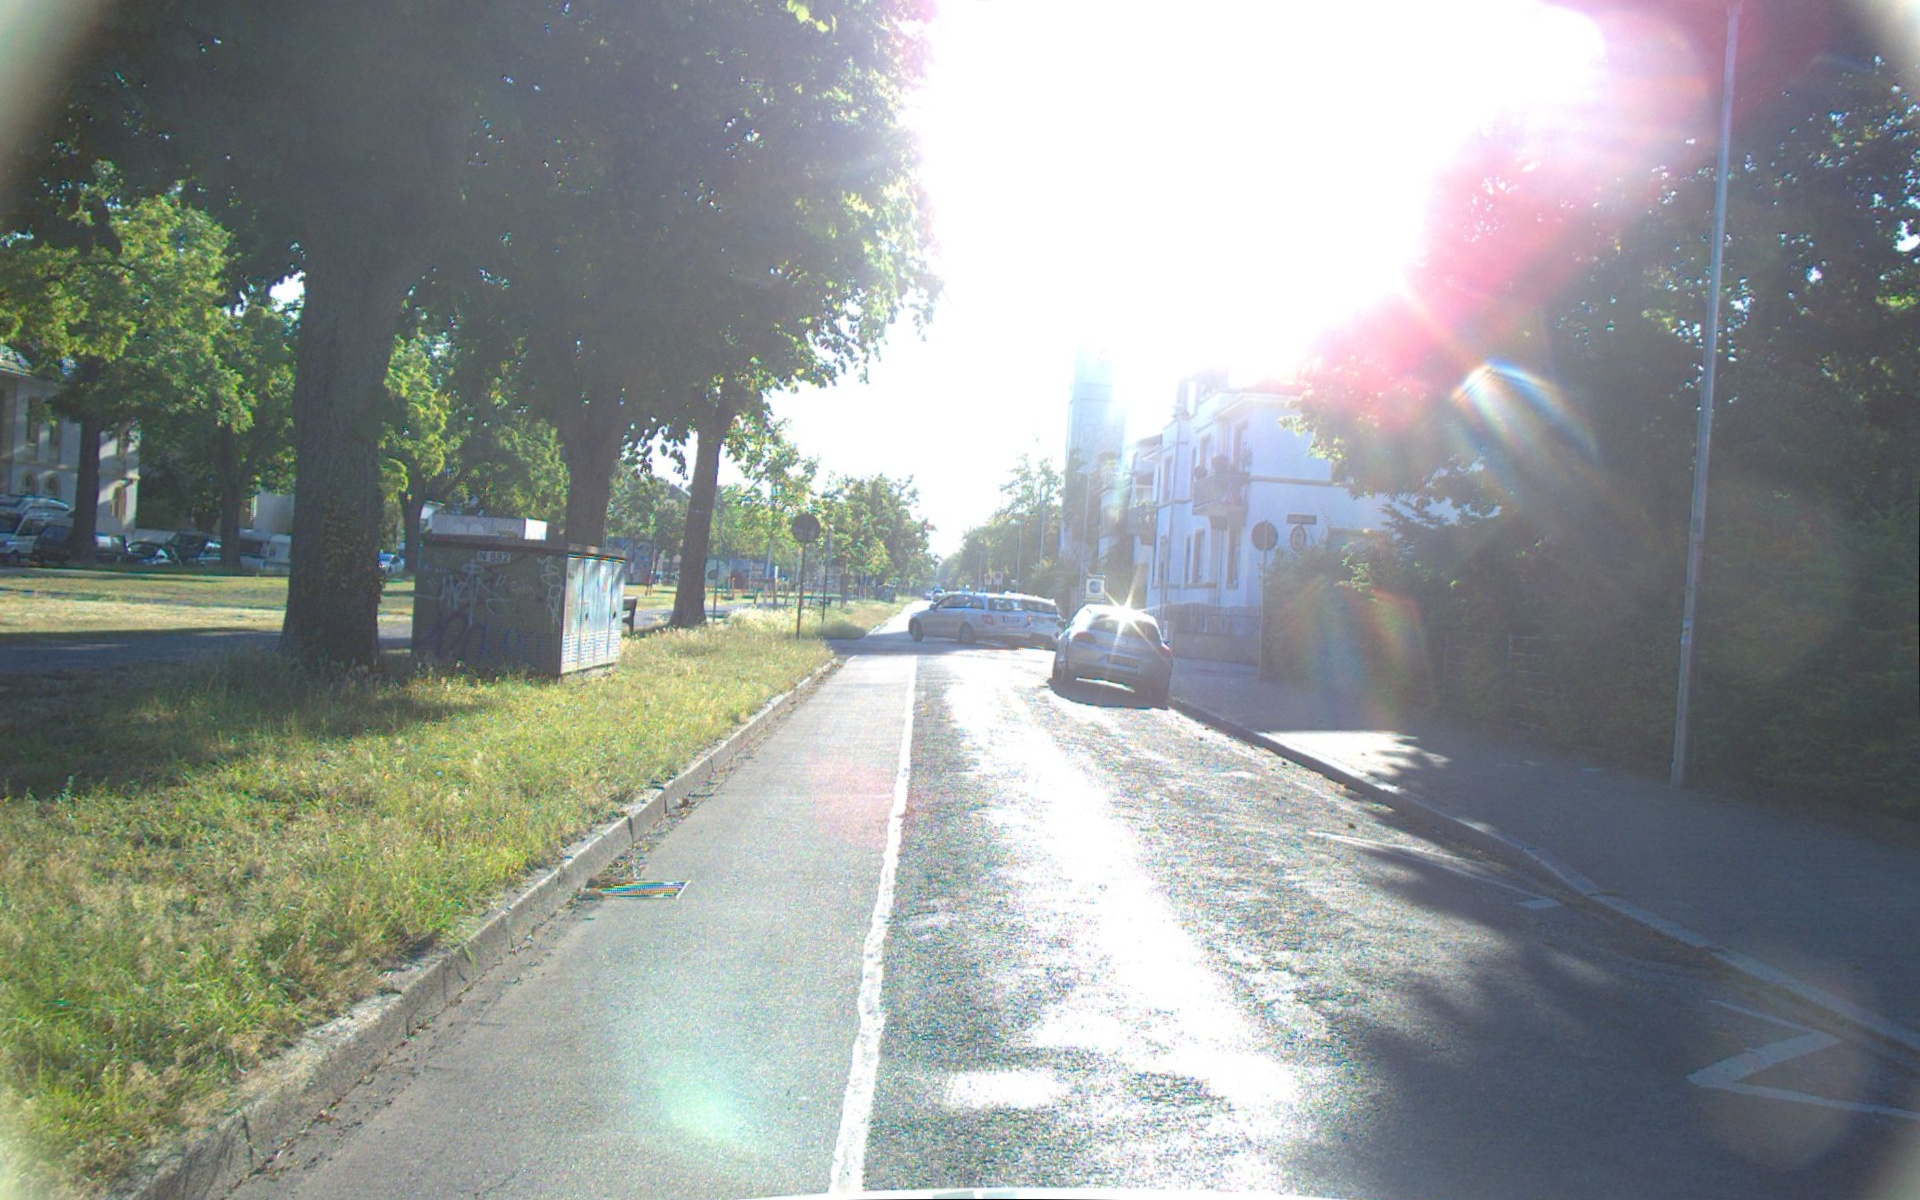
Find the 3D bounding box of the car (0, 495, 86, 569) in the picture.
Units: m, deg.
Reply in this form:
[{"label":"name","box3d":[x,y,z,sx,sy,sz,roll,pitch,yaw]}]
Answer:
[{"label":"car","box3d":[-40.173,-2.867,70.847,2.388,2.973,5.817,1,0,-1]}]

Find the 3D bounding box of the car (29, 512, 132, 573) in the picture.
[{"label":"car","box3d":[-34.323,-2.205,64.665,1.650,2.213,4.314,3,1,0]}]

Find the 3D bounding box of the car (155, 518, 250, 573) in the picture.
[{"label":"car","box3d":[-34.553,-2.443,75.616,1.953,2.289,5.186,3,1,-1]}]

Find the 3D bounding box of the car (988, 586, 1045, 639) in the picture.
[{"label":"car","box3d":[1.956,0.413,58.304,1.651,1.679,4.099,4,0,-1]}]

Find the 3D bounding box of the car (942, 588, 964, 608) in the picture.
[{"label":"car","box3d":[-0.609,-0.182,153.748,1.940,1.712,4.000,3,1,0]}]

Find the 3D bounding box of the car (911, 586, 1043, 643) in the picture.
[{"label":"car","box3d":[0.434,0.382,46.479,1.746,1.445,3.951,0,2,-35]}]

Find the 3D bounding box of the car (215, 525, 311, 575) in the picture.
[{"label":"car","box3d":[-34.861,-2.483,82.878,2.483,2.275,5.458,2,1,-1]}]

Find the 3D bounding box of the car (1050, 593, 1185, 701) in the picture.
[{"label":"car","box3d":[2.645,0.745,28.625,1.723,1.443,4.071,9,1,-1]}]

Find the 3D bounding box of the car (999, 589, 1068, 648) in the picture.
[{"label":"car","box3d":[2.244,0.545,51.758,1.723,1.633,4.357,3,1,-2]}]

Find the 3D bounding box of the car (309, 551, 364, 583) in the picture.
[{"label":"car","box3d":[-41.201,-2.162,109.437,1.953,2.049,4.484,1,0,-1]}]
